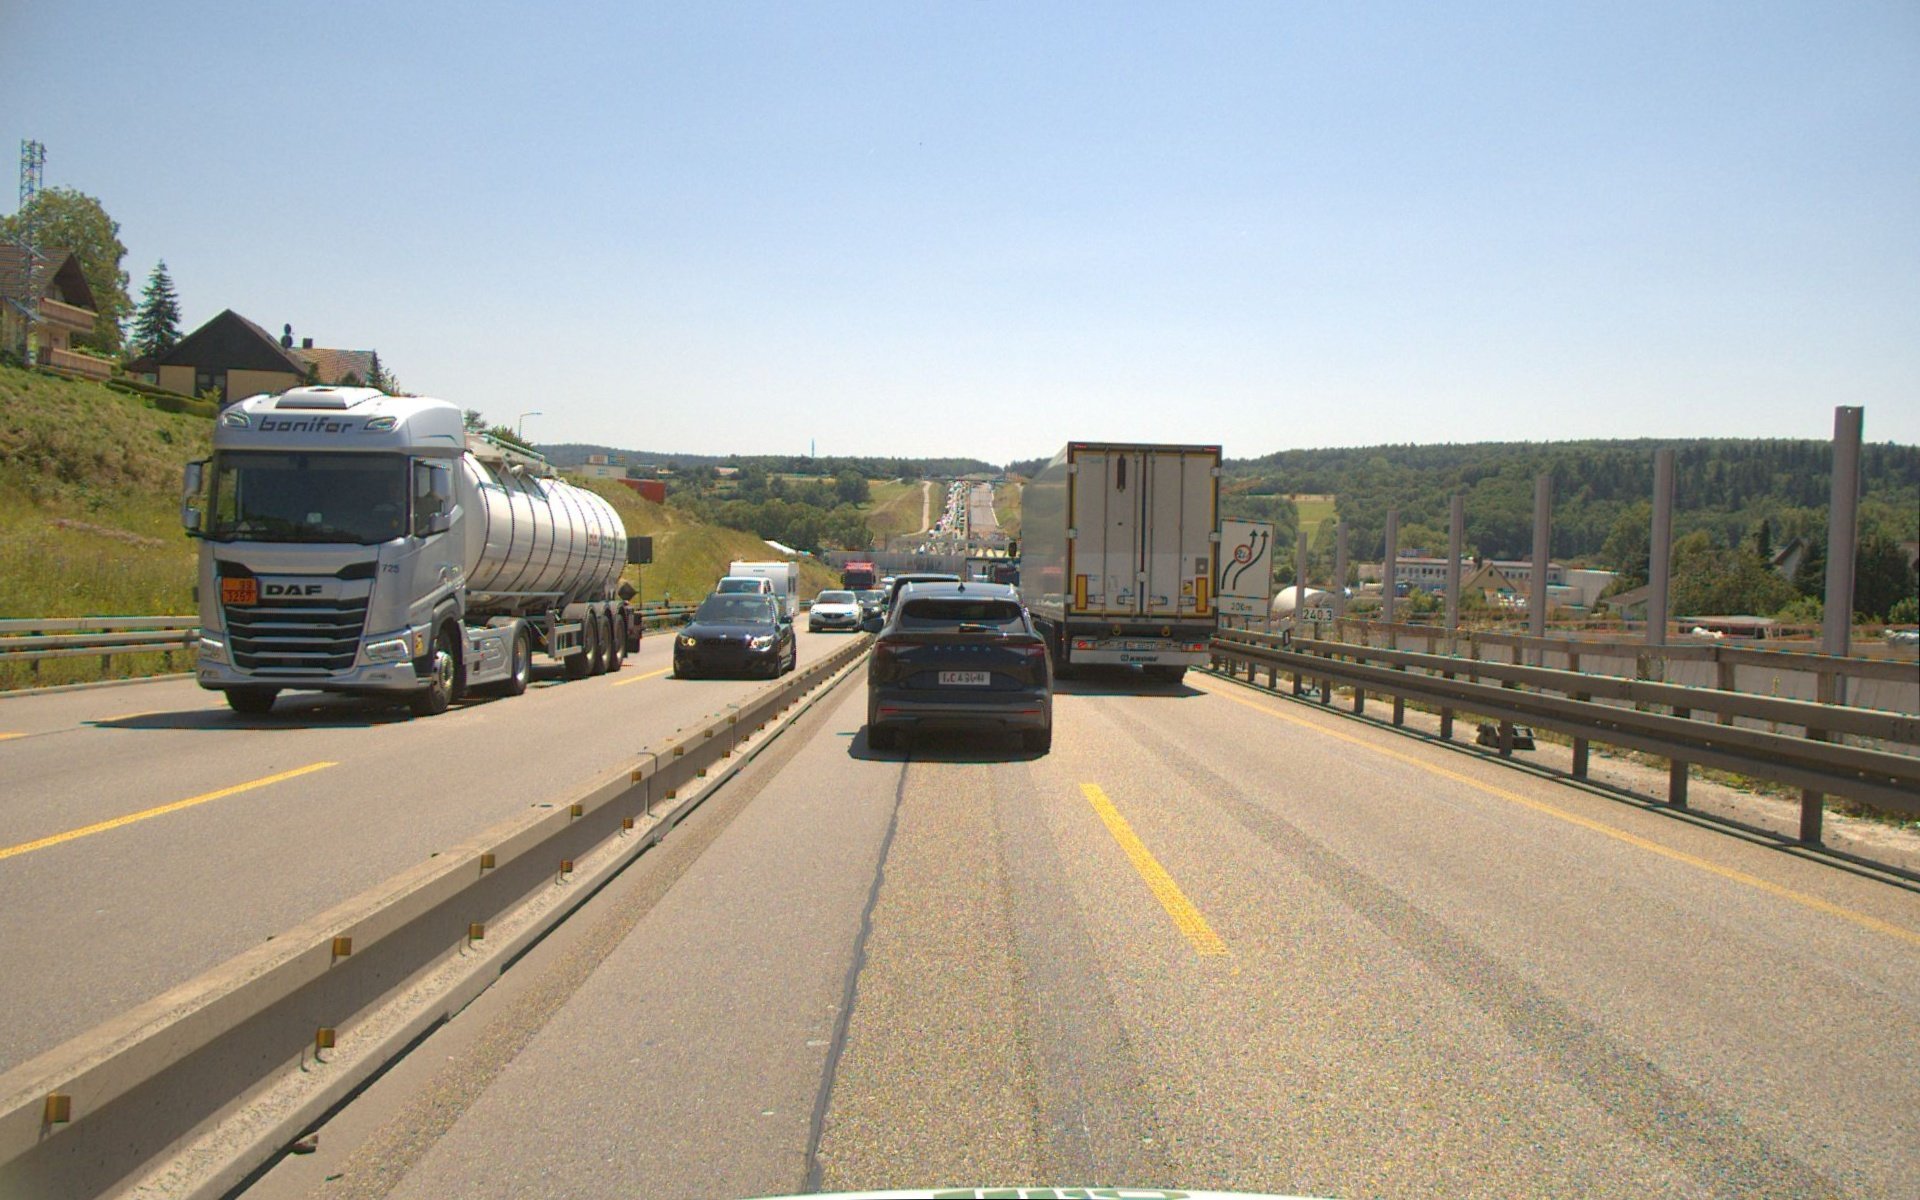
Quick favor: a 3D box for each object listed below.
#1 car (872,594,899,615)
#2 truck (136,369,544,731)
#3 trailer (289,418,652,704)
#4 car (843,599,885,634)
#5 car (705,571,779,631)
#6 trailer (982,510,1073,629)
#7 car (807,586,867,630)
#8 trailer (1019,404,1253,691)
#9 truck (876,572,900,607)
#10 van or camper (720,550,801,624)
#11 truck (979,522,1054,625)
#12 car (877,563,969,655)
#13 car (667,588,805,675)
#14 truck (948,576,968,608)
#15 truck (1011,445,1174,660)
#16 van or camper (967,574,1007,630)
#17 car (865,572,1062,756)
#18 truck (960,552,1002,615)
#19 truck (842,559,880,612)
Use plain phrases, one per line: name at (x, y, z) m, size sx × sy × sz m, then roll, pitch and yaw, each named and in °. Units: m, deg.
car at (-5.708, 0.303, 126.586) m, size 1.953 × 1.557 × 3.999 m, roll 1°, pitch 0°, yaw -1°
truck at (-7.267, -0.541, 20.437) m, size 2.722 × 3.737 × 6.276 m, roll 1°, pitch 0°, yaw -1°
trailer at (-7.429, -0.538, 27.299) m, size 2.661 × 3.657 × 11.792 m, roll 1°, pitch 0°, yaw -1°
car at (-4.106, 0.688, 71.105) m, size 1.632 × 1.438 × 3.816 m, roll 1°, pitch 0°, yaw -2°
car at (-7.669, 0.029, 58.665) m, size 1.953 × 2.005 × 5.342 m, roll 1°, pitch 0°, yaw -1°
trailer at (2.734, -1.060, 71.970) m, size 3.116 × 4.592 × 14.963 m, roll 1°, pitch -1°, yaw -1°
car at (-4.362, 0.258, 59.101) m, size 1.874 × 1.506 × 4.635 m, roll 1°, pitch 0°, yaw -1°
trailer at (3.086, -0.922, 33.369) m, size 3.116 × 4.591 × 13.106 m, roll 1°, pitch 1°, yaw -1°
truck at (-9.520, -1.315, 219.443) m, size 2.794 × 4.414 × 11.913 m, roll 1°, pitch -1°, yaw -1°
van or camper at (-7.765, -0.509, 65.270) m, size 2.309 × 2.723 × 7.856 m, roll 1°, pitch 0°, yaw -1°
truck at (2.622, -1.135, 78.930) m, size 3.116 × 4.592 × 8.163 m, roll 1°, pitch -1°, yaw -1°
car at (-0.830, 0.237, 38.026) m, size 1.953 × 1.959 × 4.506 m, roll 1°, pitch -1°, yaw -1°
car at (-3.944, 0.509, 29.877) m, size 1.856 × 1.439 × 4.679 m, roll 0°, pitch 0°, yaw 0°
truck at (-0.279, -1.111, 232.259) m, size 2.586 × 4.267 × 9.282 m, roll 1°, pitch -1°, yaw -1°
truck at (2.995, -1.063, 39.844) m, size 3.116 × 4.591 × 8.164 m, roll 1°, pitch 1°, yaw -1°
van or camper at (1.684, 0.180, 101.682) m, size 2.339 × 3.338 × 6.469 m, roll 1°, pitch -1°, yaw 1°
car at (0.033, 0.593, 17.028) m, size 1.765 × 1.635 × 4.000 m, roll 1°, pitch 0°, yaw 0°
truck at (1.563, -1.144, 128.048) m, size 2.794 × 4.543 × 11.913 m, roll 1°, pitch -1°, yaw -1°
truck at (-8.580, -1.173, 144.577) m, size 2.794 × 4.212 × 11.913 m, roll 1°, pitch -1°, yaw -1°
